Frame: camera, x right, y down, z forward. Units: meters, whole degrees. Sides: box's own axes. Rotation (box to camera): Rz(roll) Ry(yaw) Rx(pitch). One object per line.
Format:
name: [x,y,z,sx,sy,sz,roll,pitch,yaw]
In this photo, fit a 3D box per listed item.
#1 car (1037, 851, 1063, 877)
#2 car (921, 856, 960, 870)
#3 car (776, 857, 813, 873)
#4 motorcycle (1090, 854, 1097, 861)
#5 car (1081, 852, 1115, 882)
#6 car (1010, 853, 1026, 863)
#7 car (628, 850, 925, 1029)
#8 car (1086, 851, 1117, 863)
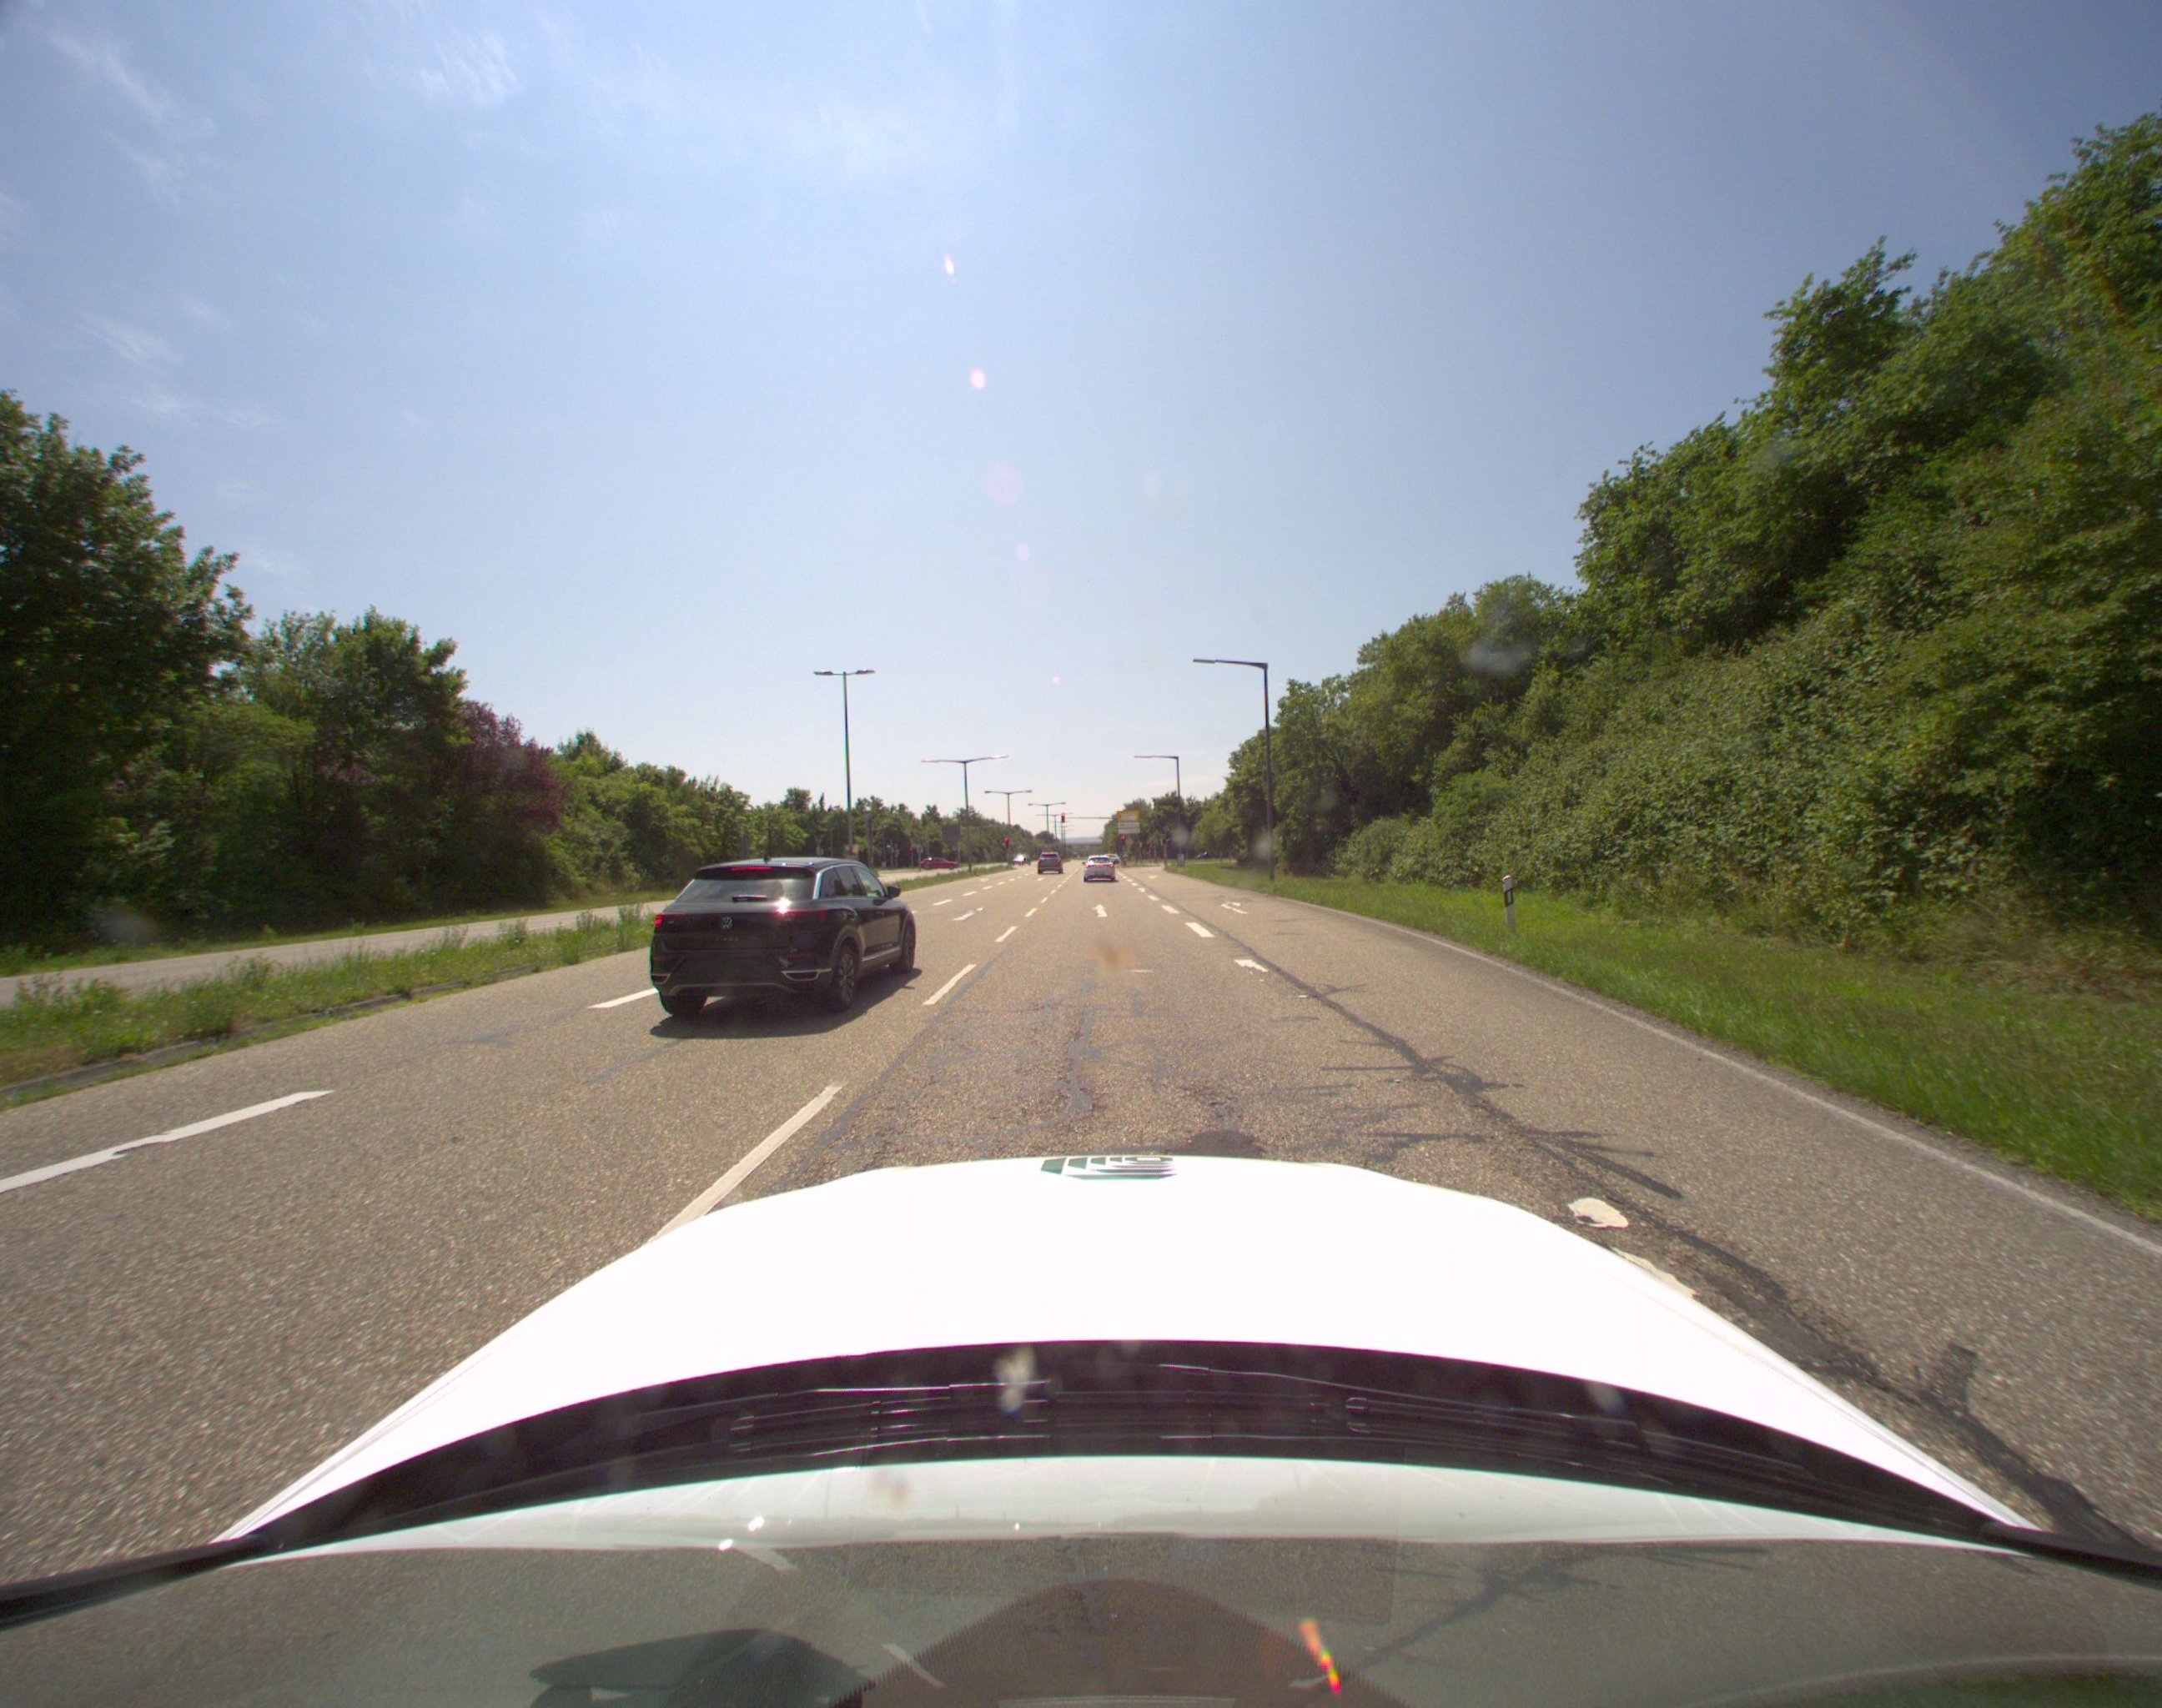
car: [-2.449,0.782,65.327,1.749,1.929,4.001,-1,0,1]
car: [-16.979,1.086,98.334,4.518,1.641,1.973,-1,0,-7]
car: [-35.138,1.332,100.001,3.989,1.830,1.992,-1,0,-12]
motorcycle: [2.648,0.754,170.354,1.419,1.281,2.569,-3,0,1]
car: [0.989,0.715,45.693,1.790,1.583,4.002,-2,0,2]
car: [-9.977,0.584,129.184,1.820,1.519,4.004,-1,0,3]
car: [-3.083,0.768,9.212,1.749,1.556,4.001,-1,0,1]
car: [2.910,0.459,114.438,4.098,1.525,1.933,-2,0,-8]
